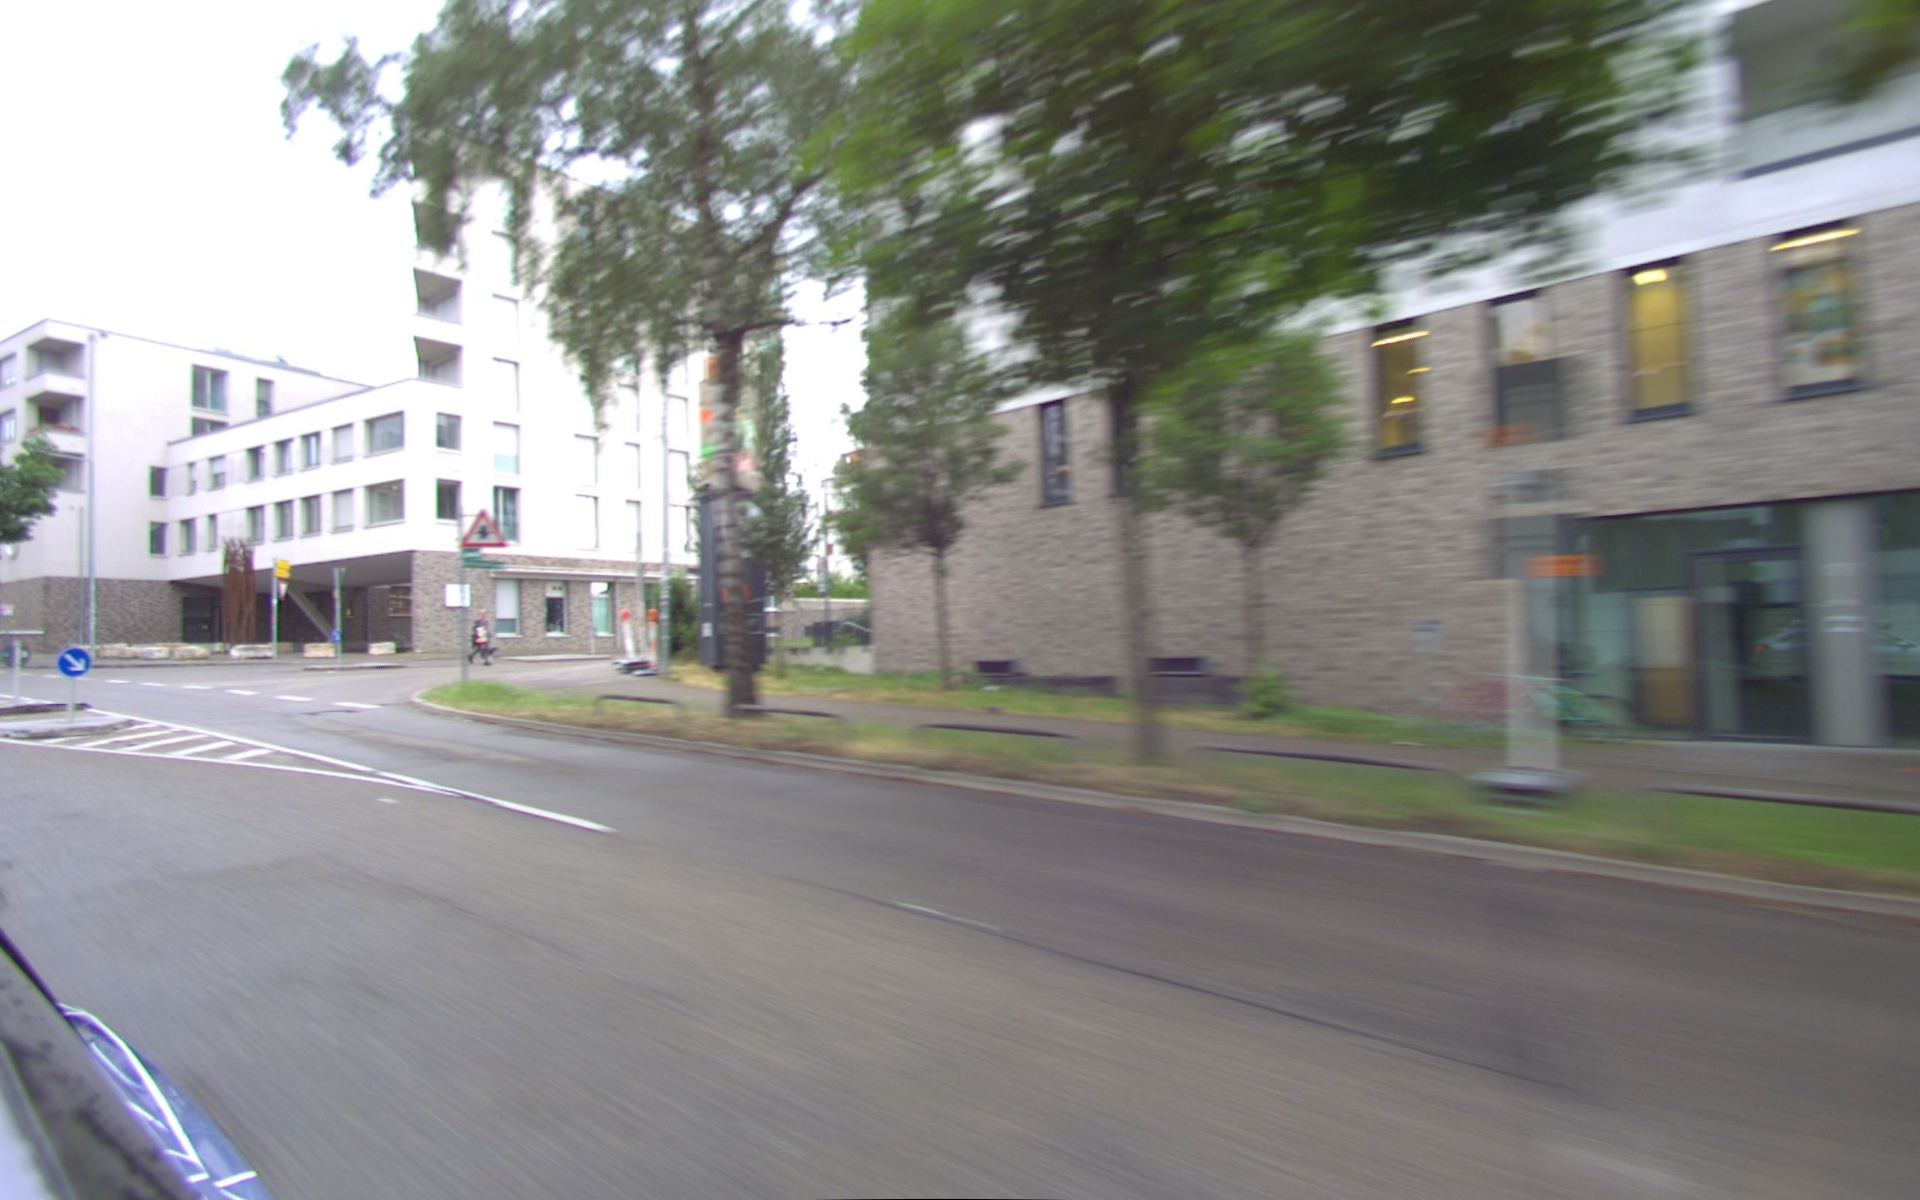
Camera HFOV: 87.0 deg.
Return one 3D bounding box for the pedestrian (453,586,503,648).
[{"bbox_3d":[-16.007,0.543,33.598,1.088,2.029,1.054,0,0,12],"label":"pedestrian"}]
